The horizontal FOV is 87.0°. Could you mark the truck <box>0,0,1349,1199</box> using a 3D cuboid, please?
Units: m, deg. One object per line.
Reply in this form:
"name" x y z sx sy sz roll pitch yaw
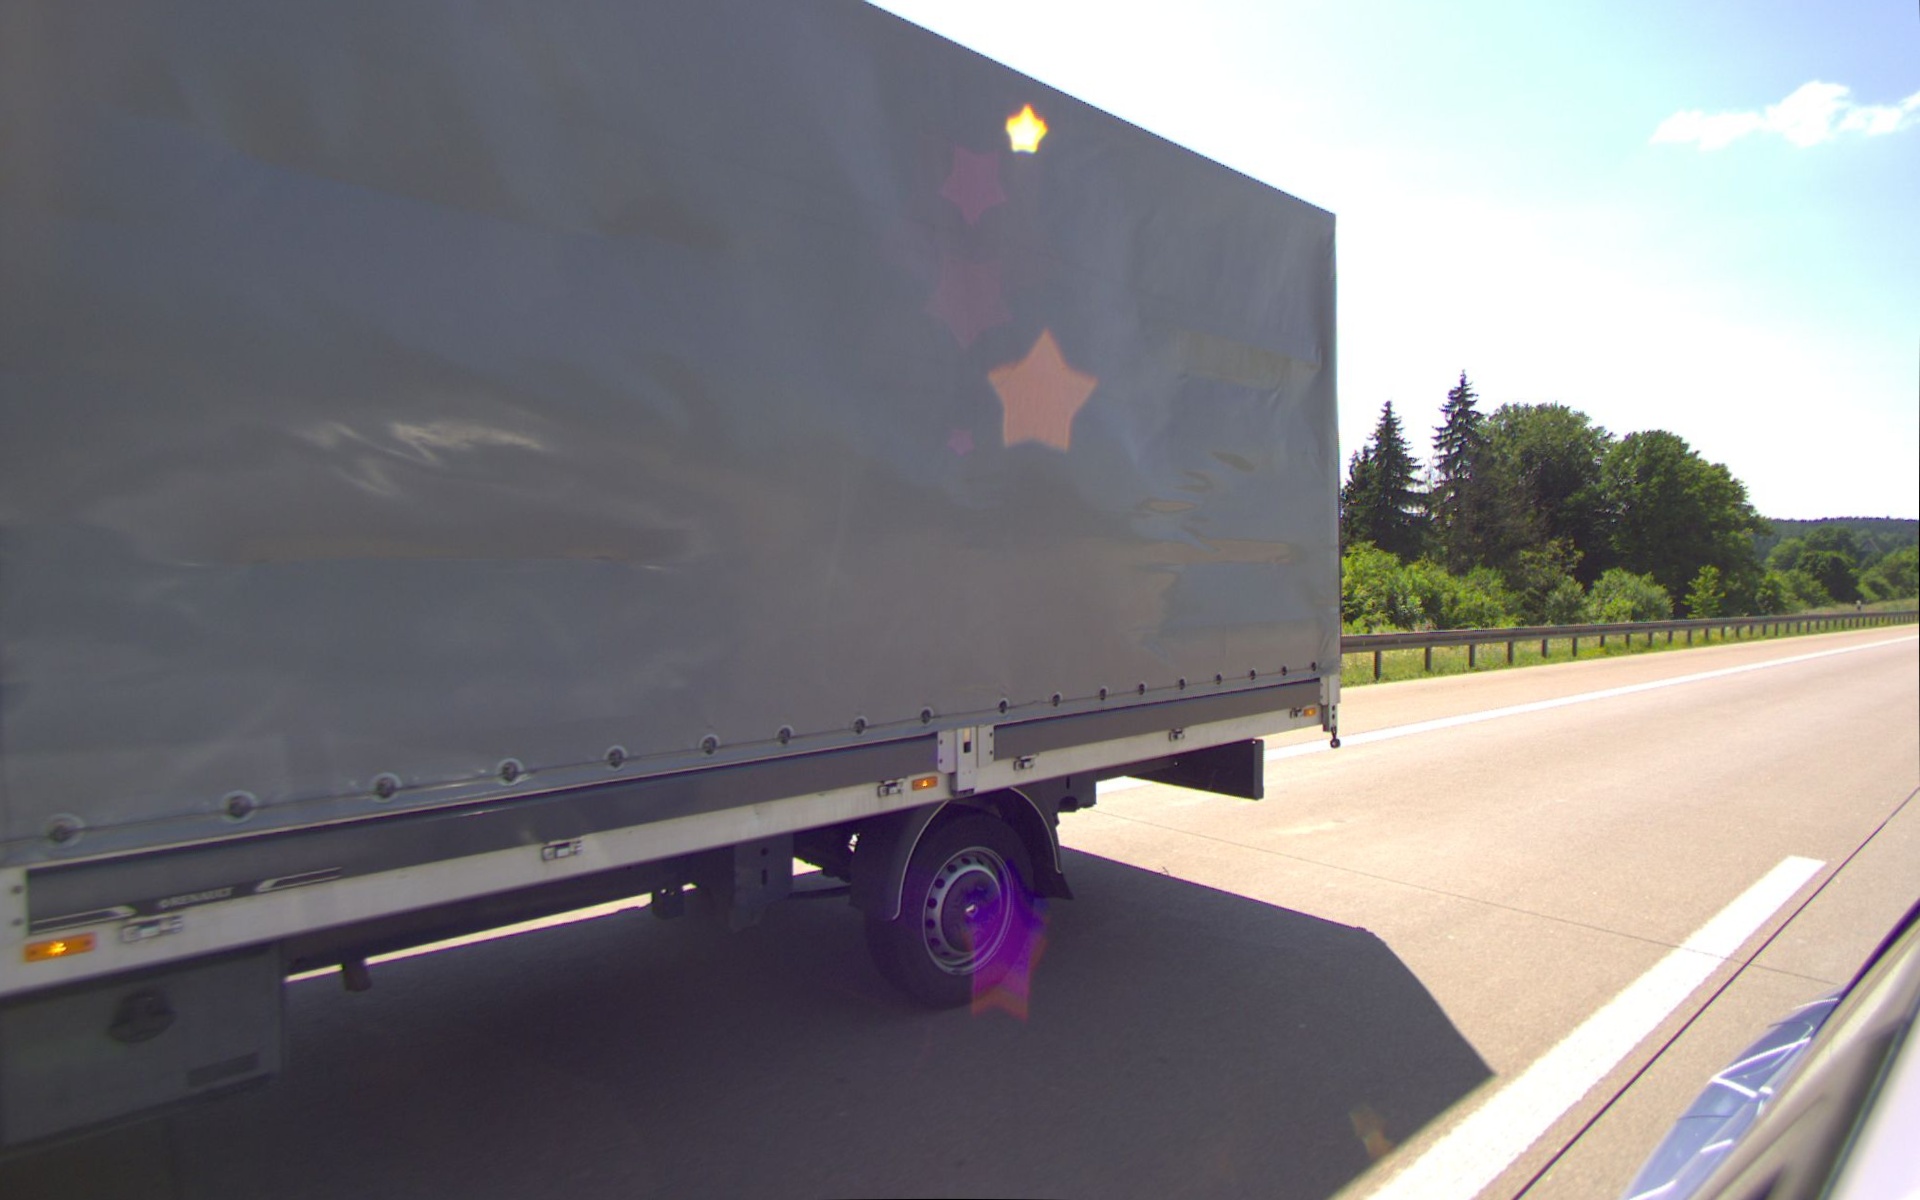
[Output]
"truck" -1.847 -0.259 3.142 7.650 3.259 2.506 0 1 -42
